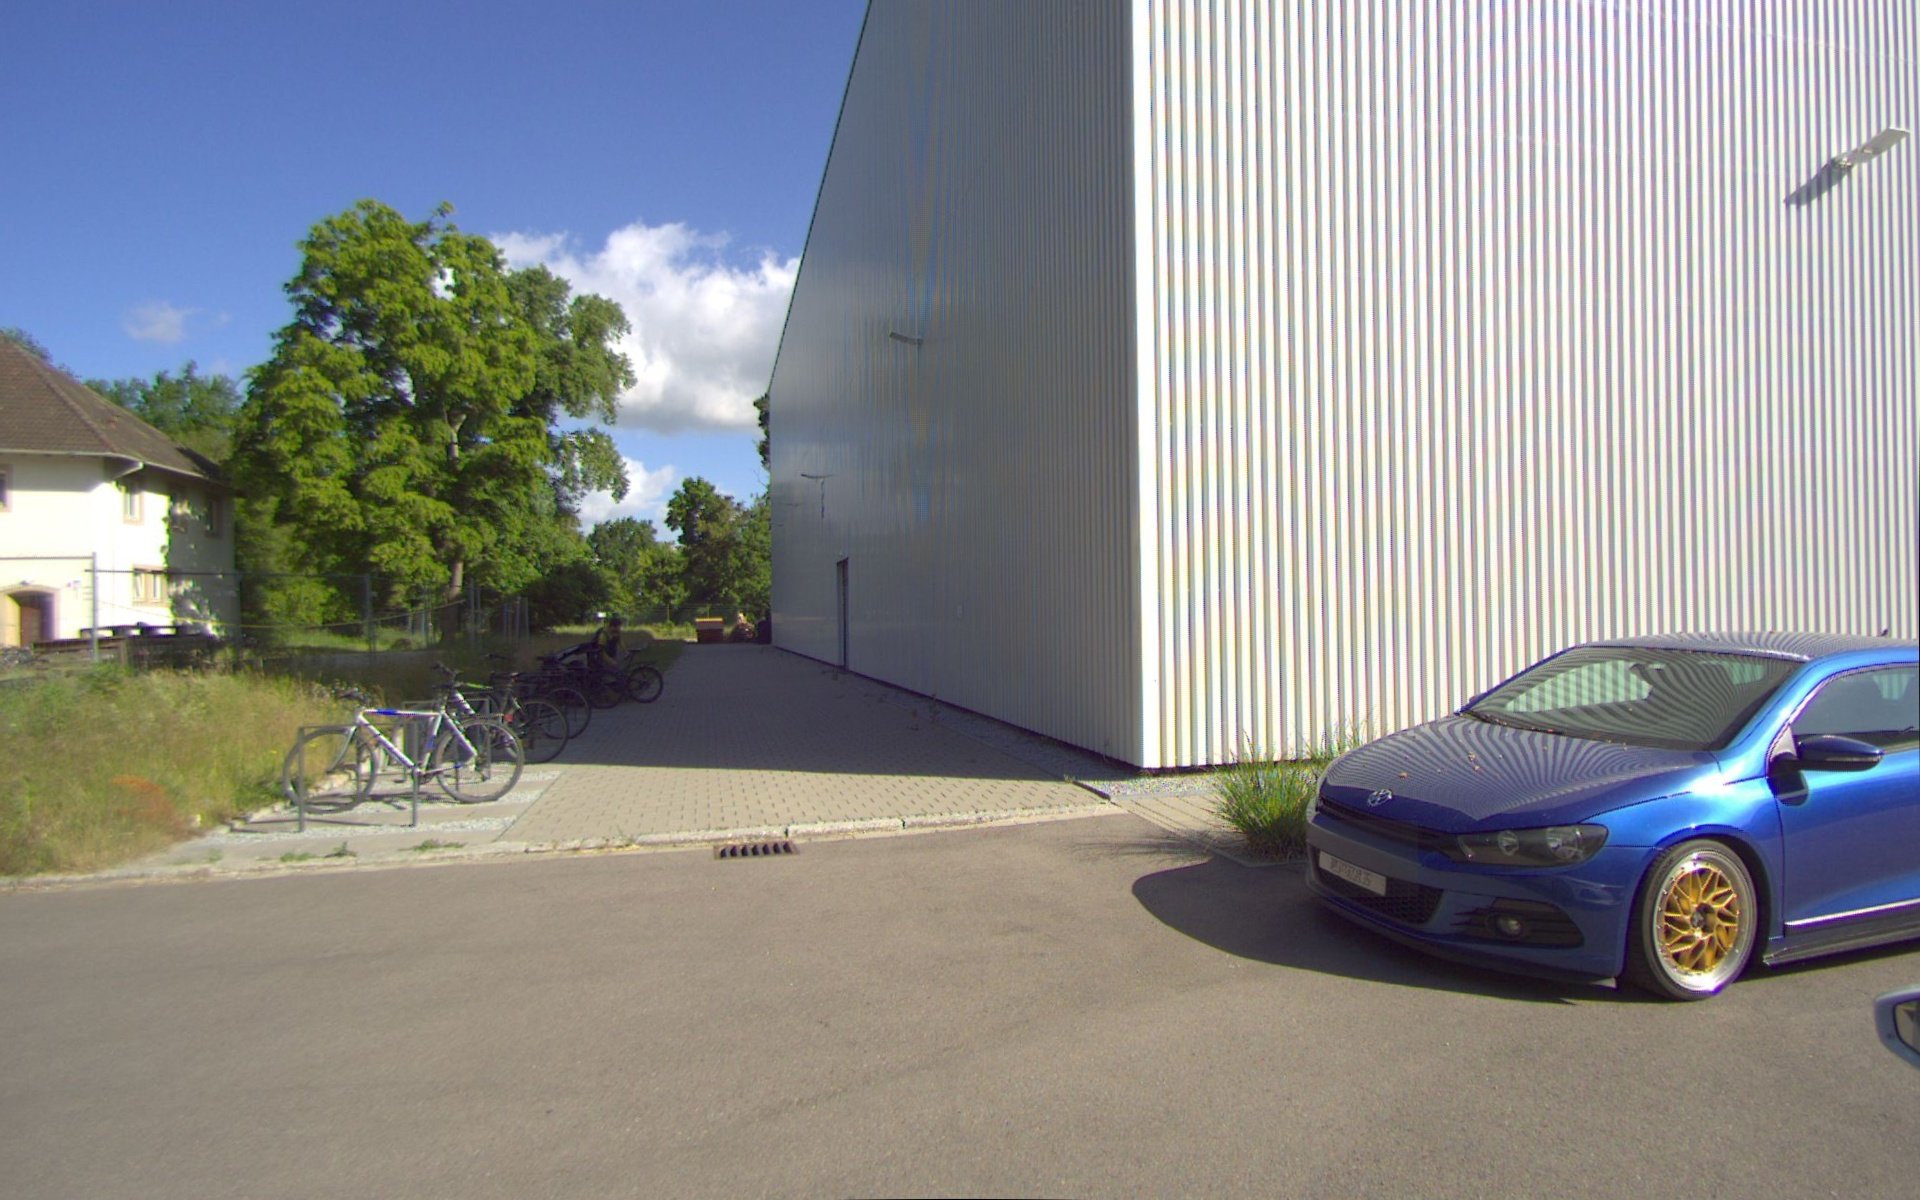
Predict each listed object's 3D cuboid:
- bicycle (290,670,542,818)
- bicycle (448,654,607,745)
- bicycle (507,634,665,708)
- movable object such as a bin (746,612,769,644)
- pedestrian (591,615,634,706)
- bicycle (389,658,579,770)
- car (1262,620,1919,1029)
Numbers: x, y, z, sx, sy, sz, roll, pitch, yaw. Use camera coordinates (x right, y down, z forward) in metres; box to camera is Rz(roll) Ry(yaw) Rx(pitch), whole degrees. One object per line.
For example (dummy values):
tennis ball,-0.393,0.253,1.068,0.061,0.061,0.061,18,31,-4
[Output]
bicycle,-4.458,1.157,8.346,1.777,1.076,0.457,0,-1,-20
bicycle,-5.687,1.292,13.296,1.863,1.109,0.524,-1,-2,-16
bicycle,-6.952,1.297,18.827,2.592,1.283,1.139,-1,-1,-11
movable object such as a bin,-12.977,1.798,64.312,1.397,2.040,1.123,-1,-1,-10
pedestrian,-6.816,1.168,19.698,0.502,1.751,0.635,-1,-1,19
bicycle,-5.086,1.207,10.823,1.767,1.097,0.523,-1,-1,-13
car,3.642,0.824,4.901,3.888,1.368,1.668,0,0,-16
